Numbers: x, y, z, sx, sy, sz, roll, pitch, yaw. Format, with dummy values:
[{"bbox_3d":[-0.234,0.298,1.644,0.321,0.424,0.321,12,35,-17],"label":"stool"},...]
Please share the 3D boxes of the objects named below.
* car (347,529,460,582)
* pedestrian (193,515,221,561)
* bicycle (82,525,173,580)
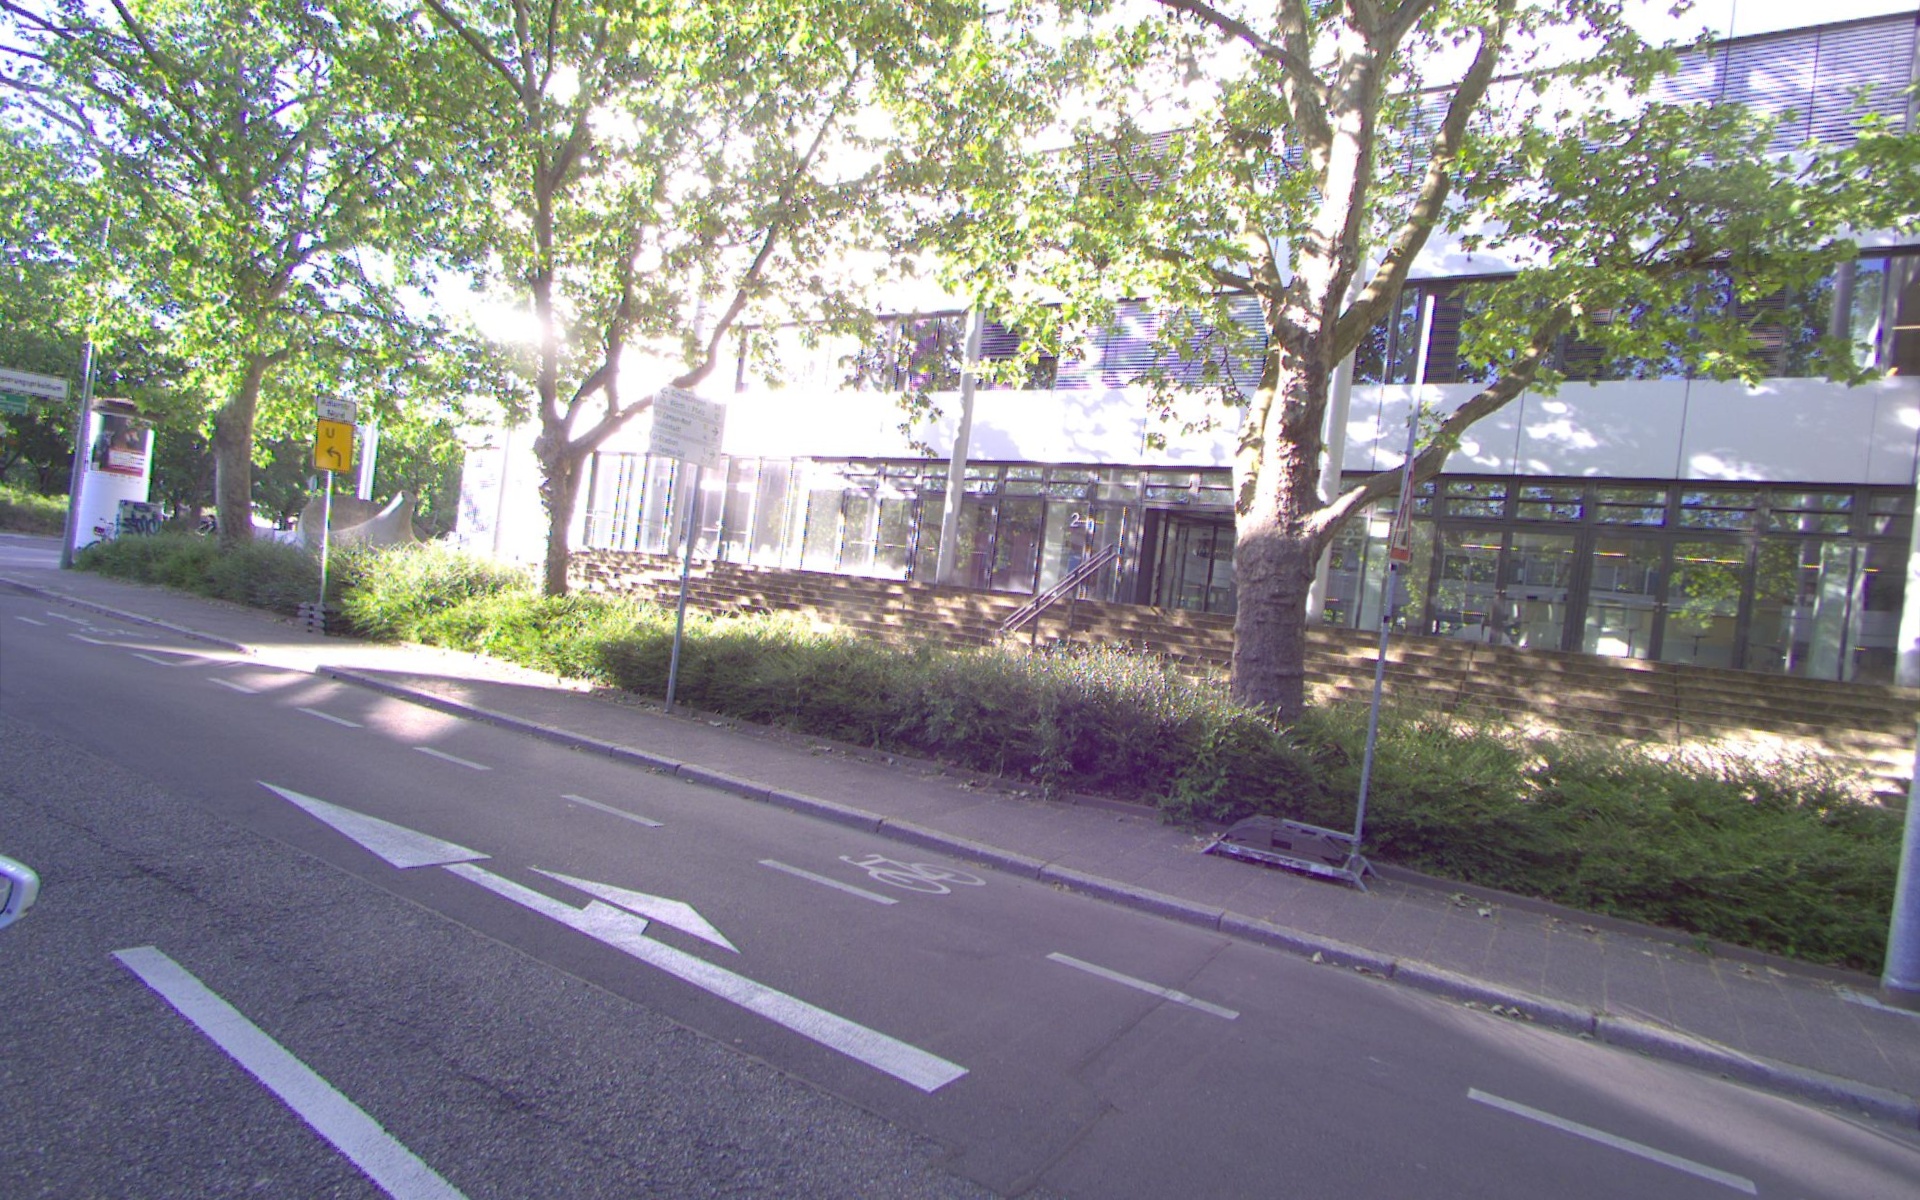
[{"bbox_3d":[-25.881,-2.056,46.870,1.969,1.805,3.998,7,-1,37],"label":"car"},{"bbox_3d":[-31.421,-2.588,41.982,0.620,1.805,0.620,7,0,34],"label":"pedestrian"},{"bbox_3d":[-19.102,-1.089,23.109,0.529,1.049,1.418,7,-1,28],"label":"bicycle"}]
